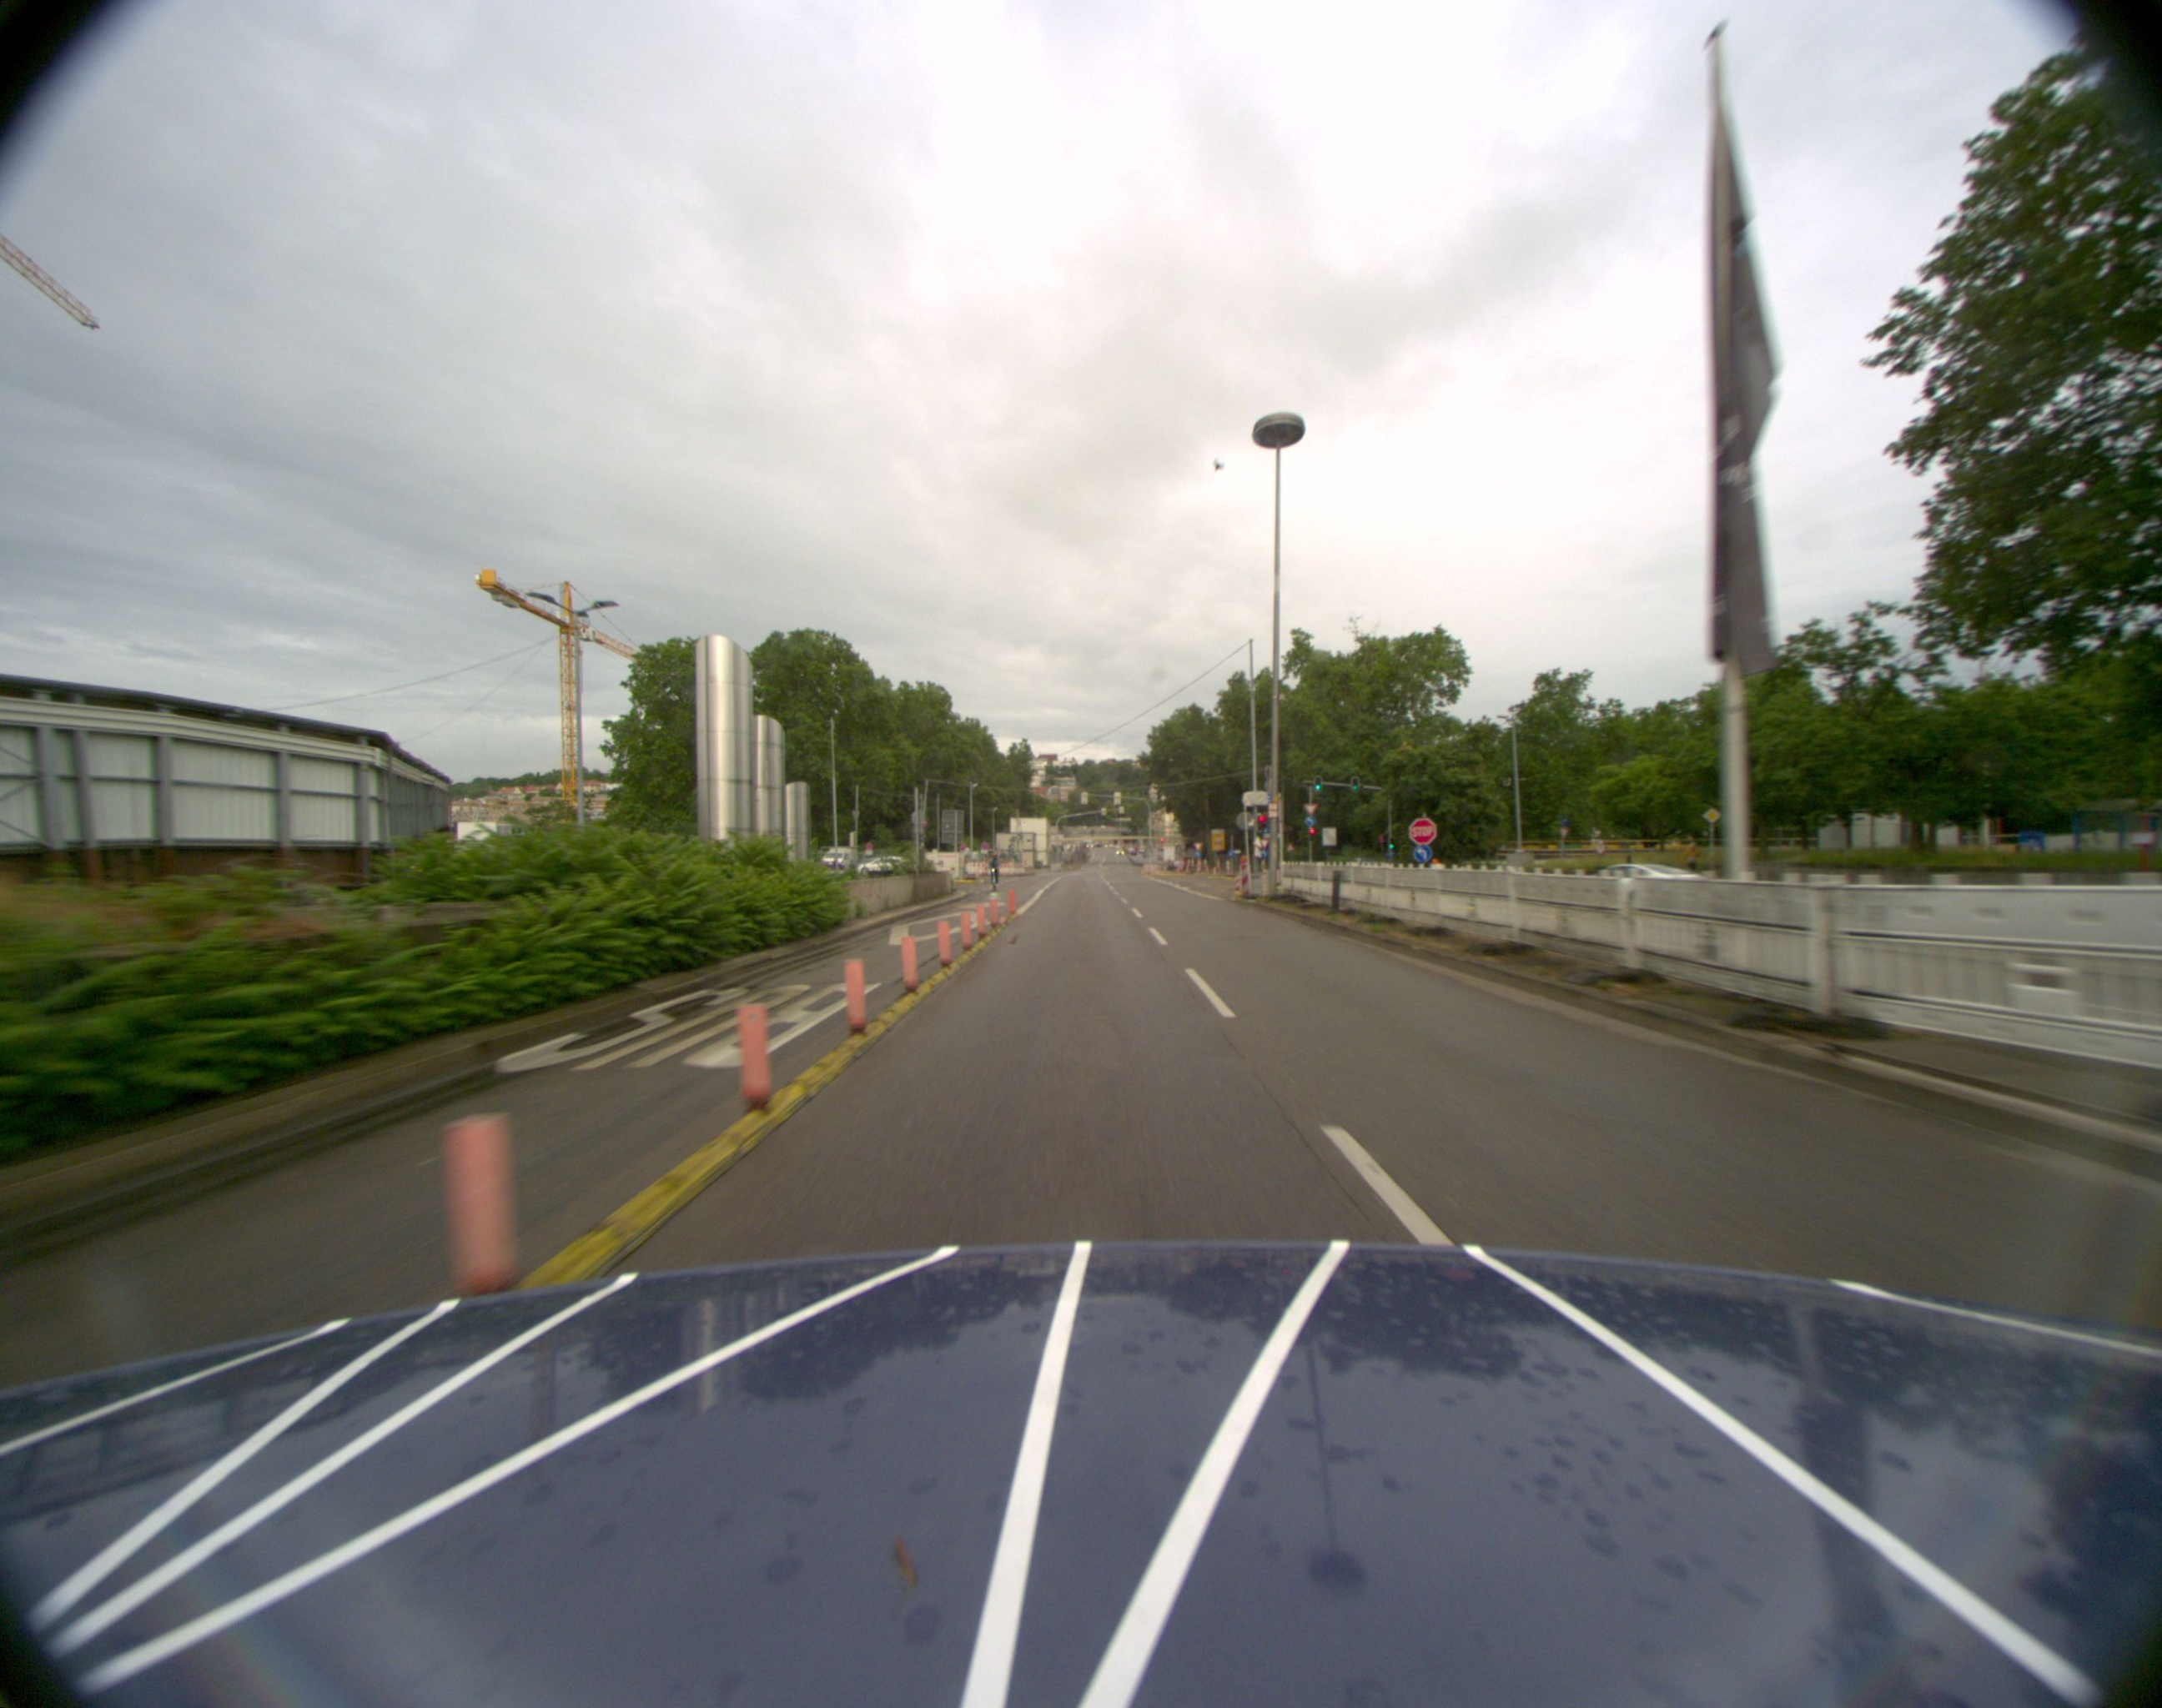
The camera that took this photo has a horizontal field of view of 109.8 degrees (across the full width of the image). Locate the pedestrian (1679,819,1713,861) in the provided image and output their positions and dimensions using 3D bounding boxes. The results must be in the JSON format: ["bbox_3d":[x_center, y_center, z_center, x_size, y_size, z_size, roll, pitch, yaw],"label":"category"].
[{"bbox_3d":[25.766,-0.579,31.863,0.558,1.714,0.951,-2,-2,0],"label":"pedestrian"}]

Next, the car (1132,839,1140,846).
[{"bbox_3d":[16.460,-3.563,228.174,1.998,2.002,4.001,-2,0,2],"label":"car"}]

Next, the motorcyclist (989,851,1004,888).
[{"bbox_3d":[-4.569,0.835,41.161,0.726,2.024,0.587,0,0,0],"label":"motorcyclist"}]

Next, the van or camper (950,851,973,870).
[{"bbox_3d":[-12.954,0.716,82.791,2.123,2.016,5.011,0,-1,-4],"label":"van or camper"}]

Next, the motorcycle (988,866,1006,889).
[{"bbox_3d":[-4.572,1.245,41.252,0.730,1.221,2.161,0,-1,0],"label":"motorcycle"}]

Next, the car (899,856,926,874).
[{"bbox_3d":[-15.375,0.983,69.546,2.000,1.627,4.188,0,-1,-7],"label":"car"}]

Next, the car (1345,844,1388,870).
[{"bbox_3d":[17.865,0.173,47.640,1.682,1.534,3.174,0,1,4],"label":"car"}]

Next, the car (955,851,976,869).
[{"bbox_3d":[-13.297,0.741,87.779,1.999,2.054,4.189,0,-1,-2],"label":"car"}]

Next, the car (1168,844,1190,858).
[{"bbox_3d":[12.859,-0.388,99.881,1.664,1.533,4.156,-2,-2,-9],"label":"car"}]

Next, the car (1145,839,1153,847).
[{"bbox_3d":[19.052,-3.091,212.229,1.998,2.001,4.001,-2,-1,2],"label":"car"}]

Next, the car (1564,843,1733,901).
[{"bbox_3d":[17.877,0.531,24.299,1.998,1.622,4.820,-2,0,4],"label":"car"}]

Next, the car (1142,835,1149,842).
[{"bbox_3d":[20.630,-5.001,243.871,1.998,2.002,4.001,-2,0,2],"label":"car"}]

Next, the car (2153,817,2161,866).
[{"bbox_3d":[46.150,-0.545,29.629,2.039,2.002,4.823,-2,0,-30],"label":"car"}]
